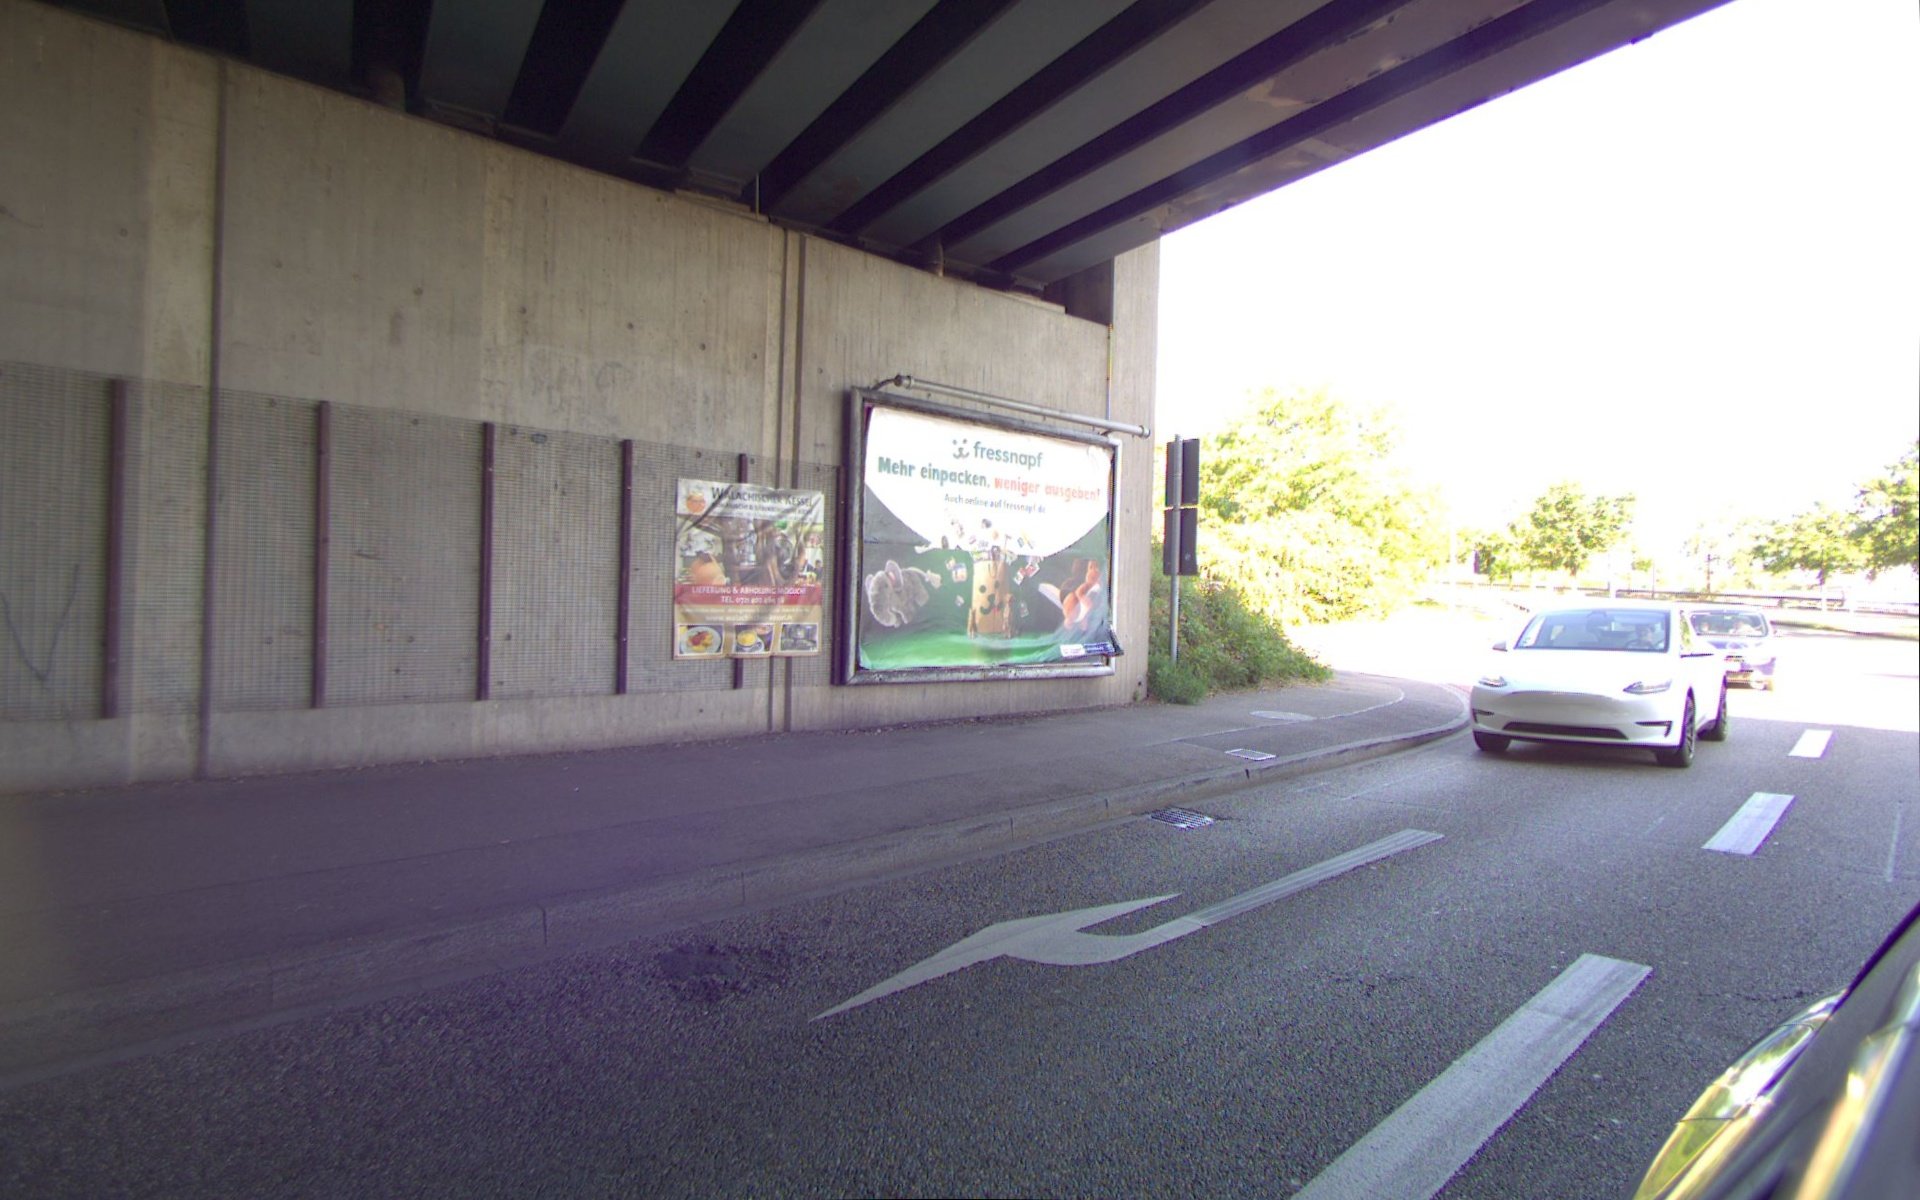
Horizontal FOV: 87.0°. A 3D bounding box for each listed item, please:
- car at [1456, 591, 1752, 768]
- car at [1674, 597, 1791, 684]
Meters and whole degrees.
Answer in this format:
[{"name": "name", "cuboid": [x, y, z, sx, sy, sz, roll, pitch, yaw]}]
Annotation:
[{"name": "car", "cuboid": [7.367, 0.693, 11.380, 1.994, 1.570, 4.351, 0, 1, 44]}, {"name": "car", "cuboid": [16.143, 0.756, 21.141, 1.771, 1.621, 4.048, 0, 0, 38]}]
